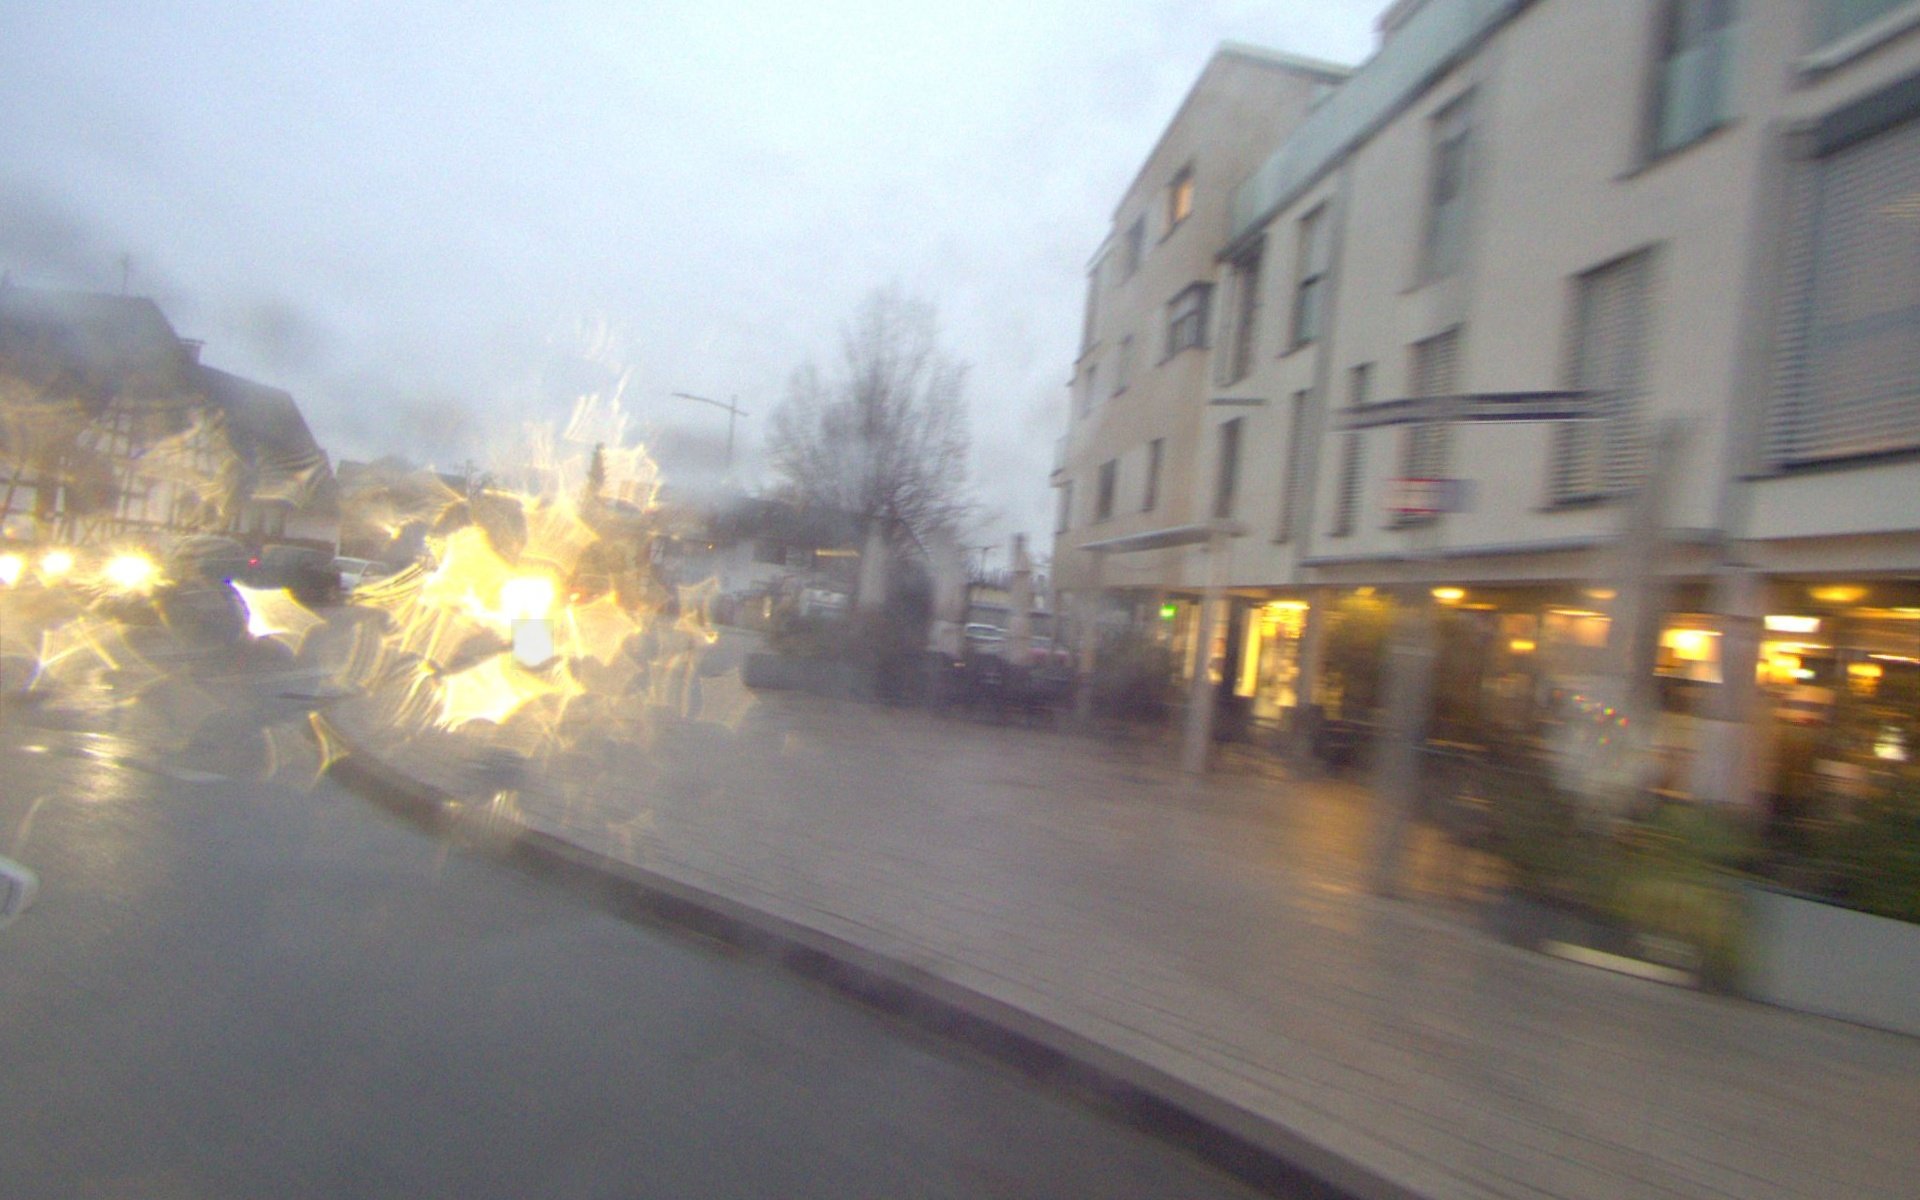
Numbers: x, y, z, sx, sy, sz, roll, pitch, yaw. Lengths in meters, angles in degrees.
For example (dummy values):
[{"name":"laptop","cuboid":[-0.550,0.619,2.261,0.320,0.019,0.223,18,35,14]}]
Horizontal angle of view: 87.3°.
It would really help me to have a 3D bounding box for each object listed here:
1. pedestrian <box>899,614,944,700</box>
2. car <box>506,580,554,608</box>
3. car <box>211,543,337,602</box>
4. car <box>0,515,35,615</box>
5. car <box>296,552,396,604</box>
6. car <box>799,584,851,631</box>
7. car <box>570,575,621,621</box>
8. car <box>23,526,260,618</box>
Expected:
[{"name":"pedestrian","cuboid":[-0.695,1.028,18.243,0.545,1.472,0.450,7,0,-18]},{"name":"car","cuboid":[-26.284,-0.359,61.610,1.852,1.470,3.992,7,-1,-13]},{"name":"car","cuboid":[-21.351,-0.796,31.485,1.699,1.483,3.705,7,-1,-9]},{"name":"car","cuboid":[-15.746,-0.665,14.285,1.667,1.570,3.998,6,-2,-6]},{"name":"car","cuboid":[-22.257,-0.753,36.628,1.645,1.568,3.713,7,-1,-9]},{"name":"car","cuboid":[-6.904,0.386,51.022,2.177,2.037,4.851,7,-2,-11]},{"name":"car","cuboid":[-17.954,-0.100,49.731,1.968,2.039,4.885,3,-1,-17]},{"name":"car","cuboid":[-16.615,-0.490,20.745,1.667,1.526,4.254,6,-1,-7]}]
